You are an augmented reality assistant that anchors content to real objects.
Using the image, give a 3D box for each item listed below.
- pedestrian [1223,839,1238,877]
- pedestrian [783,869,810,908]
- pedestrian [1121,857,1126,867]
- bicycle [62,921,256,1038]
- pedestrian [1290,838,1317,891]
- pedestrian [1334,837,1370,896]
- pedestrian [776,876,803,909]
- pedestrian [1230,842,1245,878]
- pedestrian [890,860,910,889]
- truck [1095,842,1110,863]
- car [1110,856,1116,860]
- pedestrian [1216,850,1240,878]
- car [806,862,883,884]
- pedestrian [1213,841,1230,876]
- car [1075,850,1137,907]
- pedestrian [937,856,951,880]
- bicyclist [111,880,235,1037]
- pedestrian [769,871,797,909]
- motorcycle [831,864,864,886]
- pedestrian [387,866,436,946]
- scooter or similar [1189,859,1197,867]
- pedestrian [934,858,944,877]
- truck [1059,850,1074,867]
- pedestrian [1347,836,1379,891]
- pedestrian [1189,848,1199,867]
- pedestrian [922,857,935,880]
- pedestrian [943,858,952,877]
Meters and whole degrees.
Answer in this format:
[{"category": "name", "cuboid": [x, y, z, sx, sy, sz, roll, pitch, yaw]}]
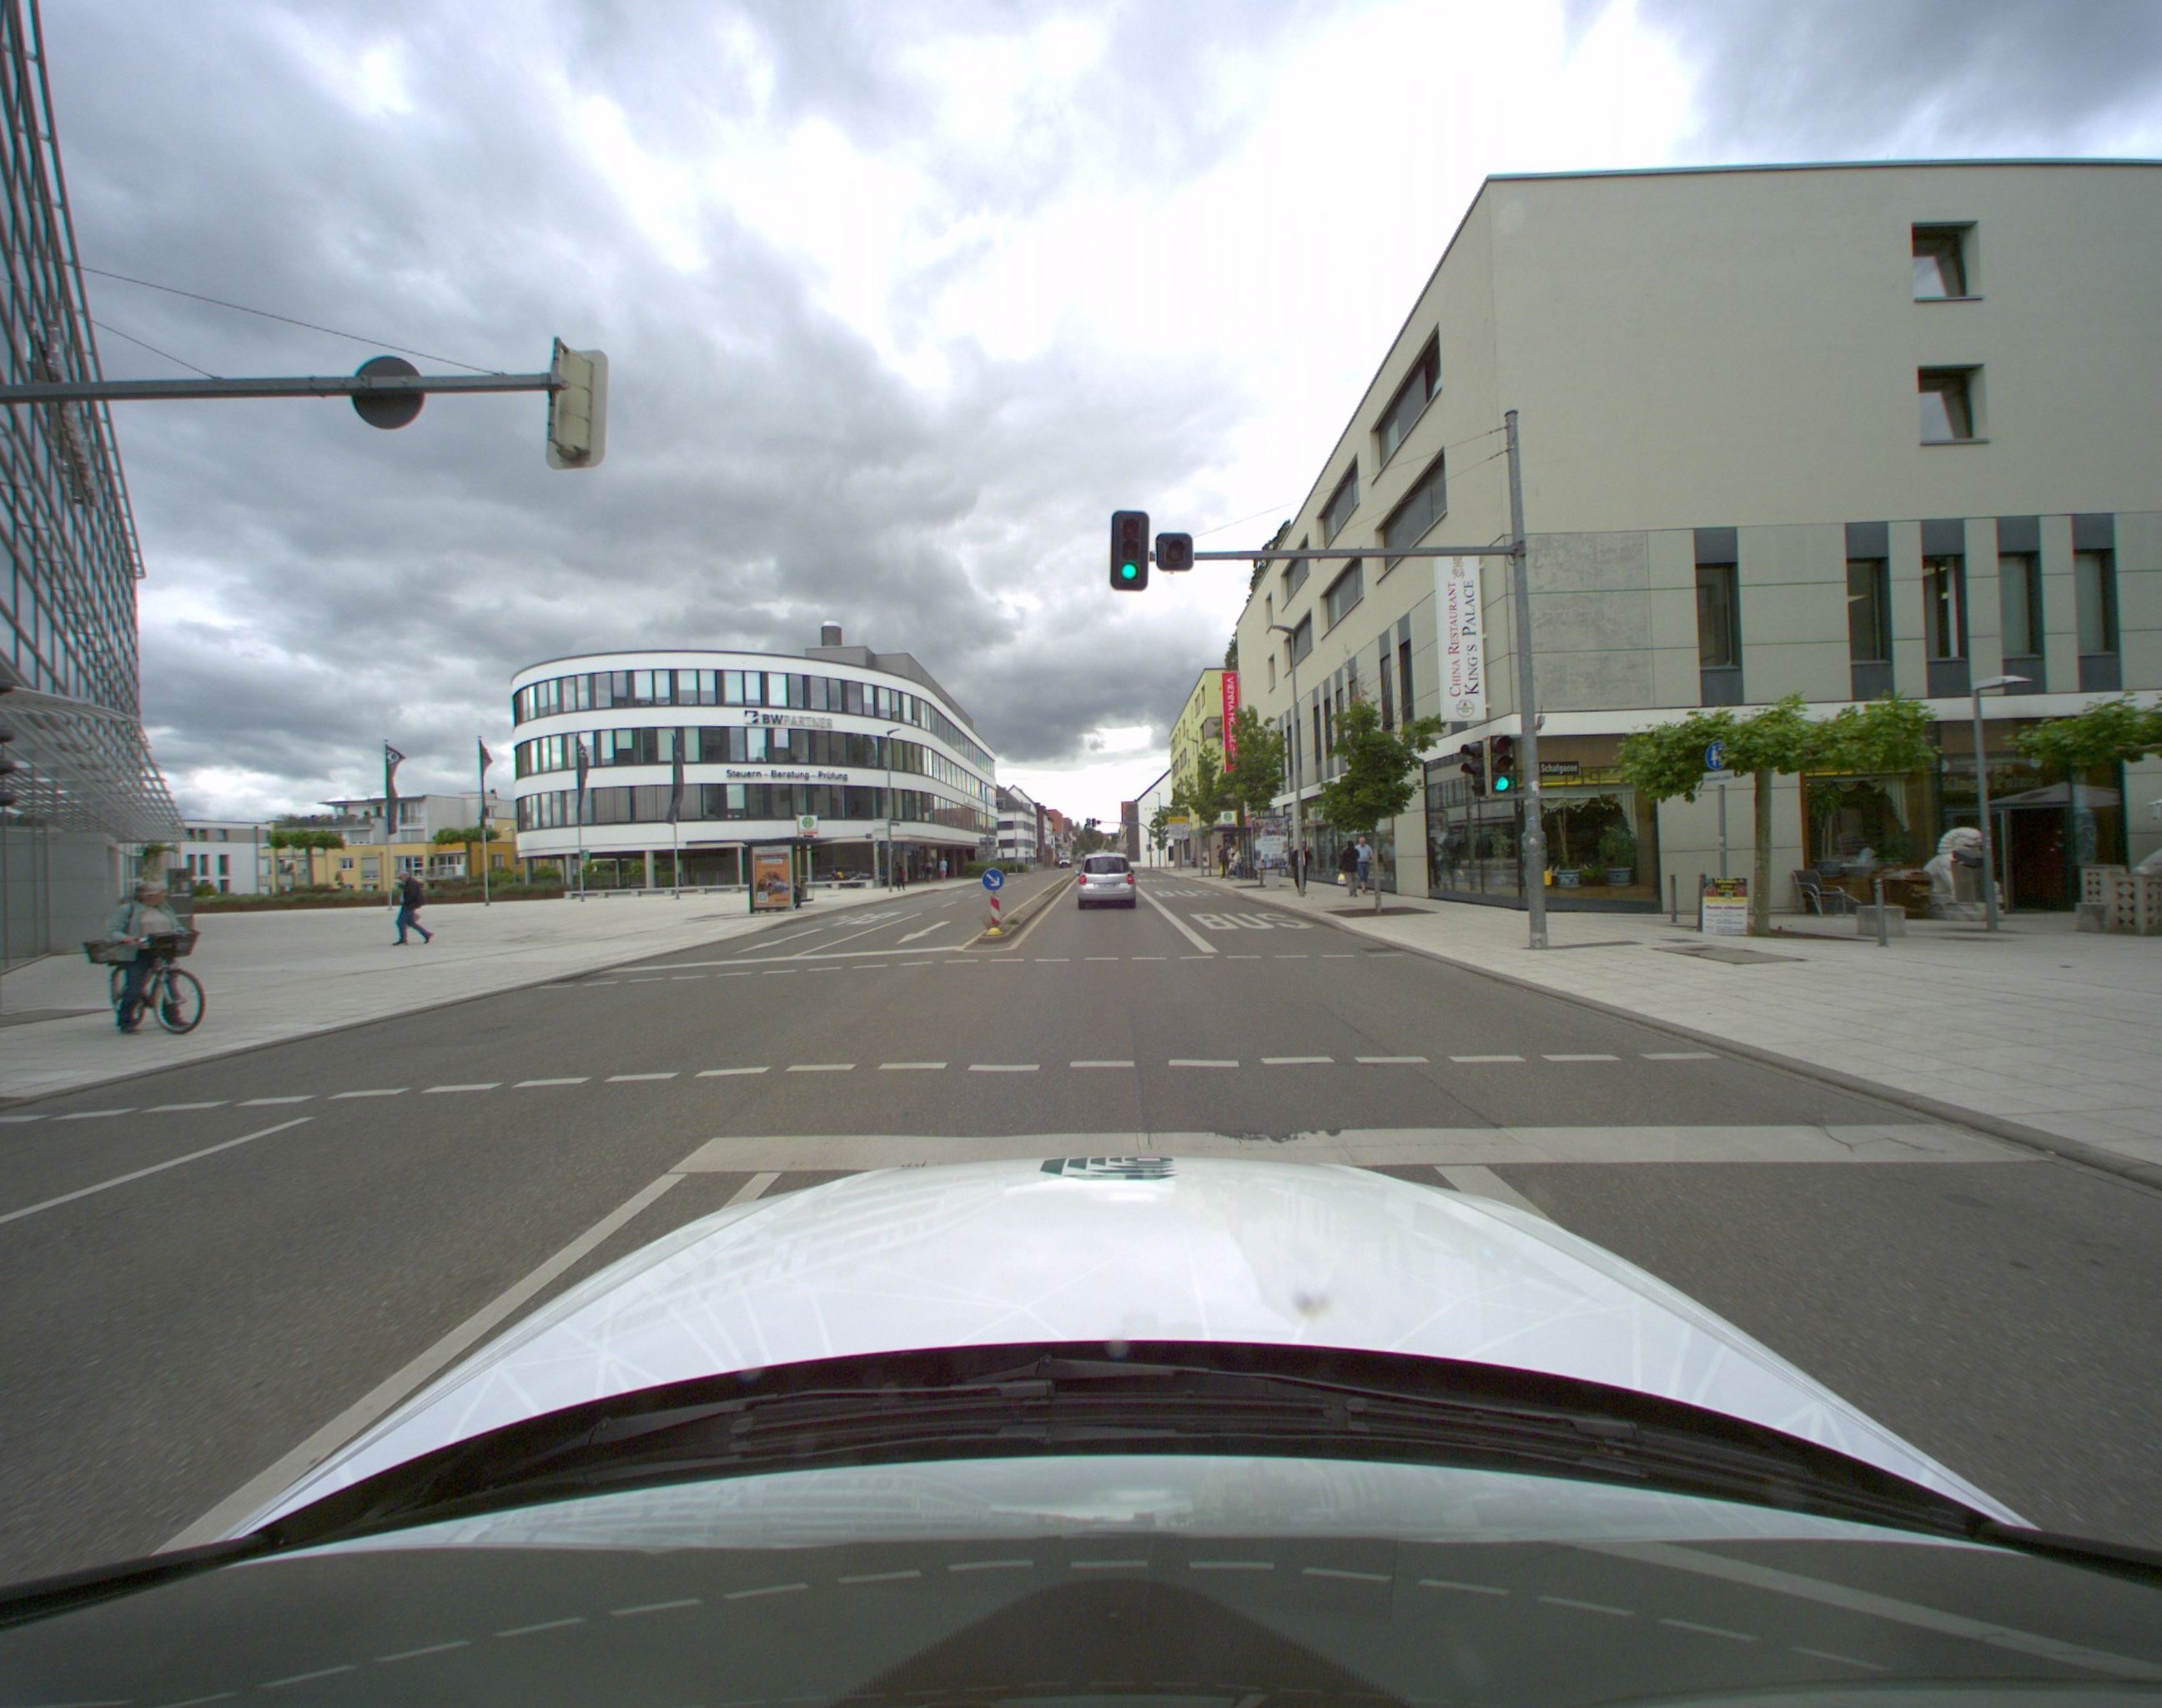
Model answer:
[{"category": "pedestrian", "cuboid": [7.242, 0.183, 39.485, 0.576, 1.769, 0.858, -3, -1, 7]}, {"category": "pedestrian", "cuboid": [-10.267, 1.235, 29.383, 0.682, 1.320, 0.576, -4, 0, 0]}, {"category": "pedestrian", "cuboid": [7.702, 1.437, 148.694, 0.804, 1.787, 0.861, -5, 0, 2]}, {"category": "bicycle", "cuboid": [-10.371, 1.369, 9.165, 1.984, 1.130, 0.641, 0, 0, 16]}, {"category": "pedestrian", "cuboid": [7.102, 0.337, 26.048, 0.652, 1.669, 0.614, -2, 0, 1]}, {"category": "pedestrian", "cuboid": [7.729, 0.354, 23.224, 0.738, 1.608, 0.715, -2, 0, 1]}, {"category": "pedestrian", "cuboid": [-10.279, 1.355, 28.711, 0.682, 1.075, 0.576, -4, 0, 0]}, {"category": "pedestrian", "cuboid": [7.166, 0.280, 37.319, 0.576, 1.591, 0.734, -3, -1, 7]}, {"category": "pedestrian", "cuboid": [-9.823, 1.118, 44.288, 0.826, 1.567, 0.814, -1, 0, 6]}, {"category": "truck", "cuboid": [4.137, -0.250, 156.149, 2.586, 3.857, 6.851, -2, 0, 2]}, {"category": "car", "cuboid": [9.942, 1.227, 250.663, 1.806, 1.354, 4.002, -3, 0, 2]}, {"category": "pedestrian", "cuboid": [6.942, 0.491, 38.486, 0.940, 1.259, 0.732, -3, -1, -2]}, {"category": "car", "cuboid": [-15.485, 1.246, 53.529, 4.432, 1.415, 1.906, 0, 0, 7]}, {"category": "pedestrian", "cuboid": [7.036, 0.239, 40.915, 0.717, 1.683, 0.734, -3, -1, 6]}, {"category": "car", "cuboid": [0.740, 0.680, 24.485, 1.700, 1.579, 4.001, 0, 0, 1]}, {"category": "pedestrian", "cuboid": [-9.817, 1.013, 58.351, 0.727, 1.674, 0.932, -1, 0, 3]}, {"category": "bicyclist", "cuboid": [-10.123, 1.124, 9.094, 0.775, 1.649, 0.641, 0, 0, 16]}, {"category": "pedestrian", "cuboid": [-10.279, 1.225, 28.086, 0.682, 1.253, 0.576, -3, 0, 0]}, {"category": "motorcycle", "cuboid": [-14.206, 1.296, 49.579, 1.846, 1.333, 0.637, 0, 0, 4]}, {"category": "pedestrian", "cuboid": [-16.853, 1.280, 20.518, 0.907, 1.945, 0.741, -1, -1, -38]}, {"category": "scooter or similar", "cuboid": [9.621, 0.754, 69.838, 0.590, 0.673, 0.824, -3, 0, 0]}, {"category": "pedestrian", "cuboid": [-12.599, 1.192, 72.146, 0.500, 1.730, 0.619, -3, -1, 32]}, {"category": "truck", "cuboid": [-2.700, 0.763, 150.880, 2.426, 2.953, 8.366, -1, 0, 1]}, {"category": "pedestrian", "cuboid": [8.743, 0.284, 25.285, 0.741, 1.669, 0.614, -2, 0, 1]}, {"category": "pedestrian", "cuboid": [9.823, 0.287, 70.563, 0.693, 1.593, 0.603, -3, -1, 0]}, {"category": "pedestrian", "cuboid": [-11.076, 1.066, 59.197, 0.727, 1.613, 0.932, -1, 0, 3]}, {"category": "pedestrian", "cuboid": [-11.743, 1.181, 71.500, 0.617, 1.710, 0.501, -2, -1, -29]}]
